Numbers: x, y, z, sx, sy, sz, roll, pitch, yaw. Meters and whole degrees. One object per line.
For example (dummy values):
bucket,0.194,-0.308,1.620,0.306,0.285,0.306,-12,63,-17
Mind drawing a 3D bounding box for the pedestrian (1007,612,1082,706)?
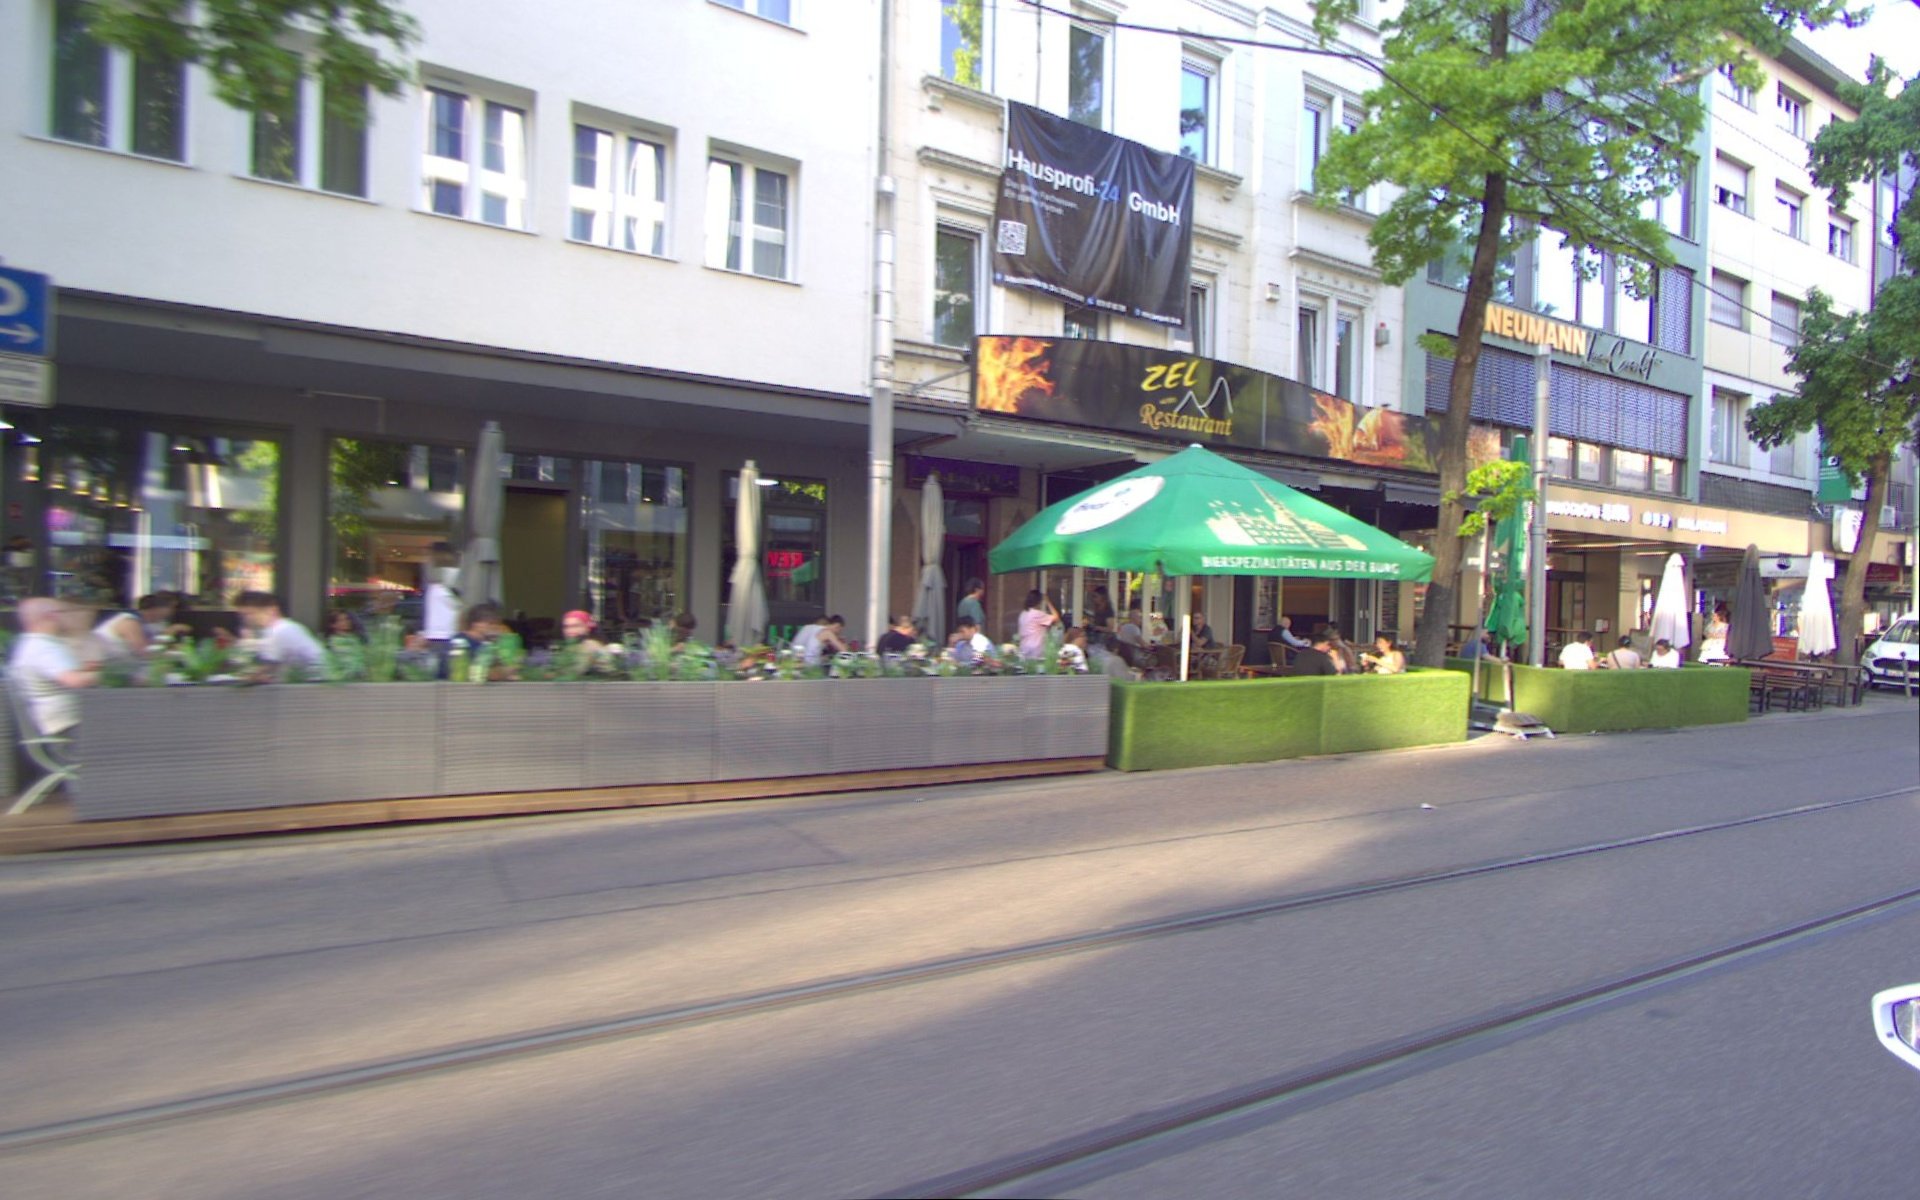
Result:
pedestrian,1.189,0.820,14.183,0.789,1.259,0.666,1,2,-30

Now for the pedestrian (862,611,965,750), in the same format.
pedestrian,-0.479,0.798,10.287,0.797,1.329,0.686,1,2,-29

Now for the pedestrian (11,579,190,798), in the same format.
pedestrian,-5.936,0.578,6.987,0.797,1.405,0.686,1,2,-29

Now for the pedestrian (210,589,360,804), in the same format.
pedestrian,-4.747,0.642,7.116,0.797,1.405,0.686,1,2,-29

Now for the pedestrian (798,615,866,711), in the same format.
pedestrian,-1.639,0.793,12.854,0.678,1.177,0.550,1,2,-29

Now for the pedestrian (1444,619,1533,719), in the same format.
pedestrian,7.764,0.997,14.764,0.862,1.361,0.750,1,3,-30

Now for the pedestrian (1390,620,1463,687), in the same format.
pedestrian,8.960,1.018,19.297,1.052,1.204,0.749,1,3,-30

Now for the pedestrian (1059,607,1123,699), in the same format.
pedestrian,2.006,0.796,15.383,0.689,1.327,0.616,1,3,-30

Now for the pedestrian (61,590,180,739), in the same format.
pedestrian,-7.736,0.574,9.285,0.719,1.299,0.624,1,2,-29

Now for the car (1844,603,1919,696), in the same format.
car,22.179,1.116,22.714,4.498,1.890,1.787,1,2,-29

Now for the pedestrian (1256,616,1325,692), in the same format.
pedestrian,5.711,0.916,17.376,0.779,1.230,0.733,1,3,-30

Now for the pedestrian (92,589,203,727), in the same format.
pedestrian,-7.985,0.553,9.900,0.730,1.286,0.642,1,2,-29

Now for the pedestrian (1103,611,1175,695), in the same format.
pedestrian,2.822,0.820,15.882,0.779,1.248,0.733,1,3,-30

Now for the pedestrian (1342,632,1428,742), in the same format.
pedestrian,5.196,1.044,12.303,0.689,1.262,0.616,1,3,-30

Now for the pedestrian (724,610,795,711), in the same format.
pedestrian,-2.448,0.724,12.249,0.678,1.177,0.550,1,2,-29

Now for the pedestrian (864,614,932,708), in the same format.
pedestrian,-0.827,0.800,13.354,0.679,1.190,0.599,1,2,-29

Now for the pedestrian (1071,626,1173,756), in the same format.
pedestrian,1.711,0.942,10.670,0.762,1.276,0.705,1,2,-27

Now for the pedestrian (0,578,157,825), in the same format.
pedestrian,-5.518,0.588,6.155,0.797,1.405,0.686,1,2,-29

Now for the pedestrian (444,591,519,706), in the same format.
pedestrian,-5.132,0.506,10.762,0.678,1.177,0.550,1,2,-29

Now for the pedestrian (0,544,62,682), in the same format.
pedestrian,-11.384,0.152,12.181,0.492,1.625,0.619,1,0,34

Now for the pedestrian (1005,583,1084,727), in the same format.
pedestrian,1.029,0.655,12.320,0.689,1.693,0.616,1,2,-30

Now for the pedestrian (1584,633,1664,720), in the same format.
pedestrian,10.327,1.167,15.619,0.862,1.261,0.653,1,3,-30

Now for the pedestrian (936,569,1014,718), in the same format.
pedestrian,0.183,0.524,12.556,0.688,1.780,0.675,1,2,-28

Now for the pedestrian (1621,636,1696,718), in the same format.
pedestrian,11.186,1.215,16.089,0.788,1.209,0.653,1,3,-30

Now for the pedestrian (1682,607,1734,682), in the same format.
pedestrian,16.744,0.988,22.490,0.692,1.595,0.644,1,2,-30

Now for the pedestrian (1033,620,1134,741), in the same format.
pedestrian,1.399,0.893,11.446,0.858,1.276,0.705,1,2,-27

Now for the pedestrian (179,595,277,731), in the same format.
pedestrian,-7.089,0.590,9.755,0.678,1.252,0.550,1,2,-29

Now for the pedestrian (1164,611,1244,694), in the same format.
pedestrian,3.969,0.845,16.372,0.934,1.254,0.773,1,3,-30

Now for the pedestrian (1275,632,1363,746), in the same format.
pedestrian,4.248,1.033,11.897,0.689,1.262,0.616,1,3,-30

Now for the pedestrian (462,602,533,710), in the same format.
pedestrian,-5.274,0.626,11.458,0.678,1.177,0.550,1,2,-29

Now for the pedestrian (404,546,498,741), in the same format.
pedestrian,-4.993,0.396,9.843,0.680,1.816,0.751,1,2,-36

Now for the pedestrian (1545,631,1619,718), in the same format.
pedestrian,10.052,1.184,16.242,0.788,1.310,0.653,1,3,-30

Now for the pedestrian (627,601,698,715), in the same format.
pedestrian,-3.600,0.684,12.143,0.678,1.316,0.599,1,2,-29

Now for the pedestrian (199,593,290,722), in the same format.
pedestrian,-7.303,0.568,10.272,0.678,1.252,0.550,1,2,-29

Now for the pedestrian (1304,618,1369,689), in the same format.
pedestrian,6.740,0.948,18.001,0.779,1.184,0.696,1,3,-30

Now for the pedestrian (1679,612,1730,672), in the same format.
pedestrian,19.465,1.080,26.281,0.756,1.486,0.765,1,3,-32

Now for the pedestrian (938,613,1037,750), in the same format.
pedestrian,0.285,0.844,10.694,0.771,1.365,0.705,1,2,-27

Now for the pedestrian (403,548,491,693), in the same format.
pedestrian,-6.783,0.253,13.309,0.673,1.844,0.767,2,1,10

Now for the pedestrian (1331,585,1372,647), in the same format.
pedestrian,10.914,0.442,27.987,0.725,1.673,0.694,1,3,-30

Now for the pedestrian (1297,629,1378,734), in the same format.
pedestrian,4.866,1.026,12.949,0.689,1.262,0.616,1,3,-30

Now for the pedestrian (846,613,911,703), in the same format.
pedestrian,-1.136,0.788,13.912,0.679,1.173,0.599,1,2,-29

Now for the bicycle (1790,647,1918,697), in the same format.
bicycle,18.933,1.515,21.303,1.822,0.876,0.837,2,2,9
